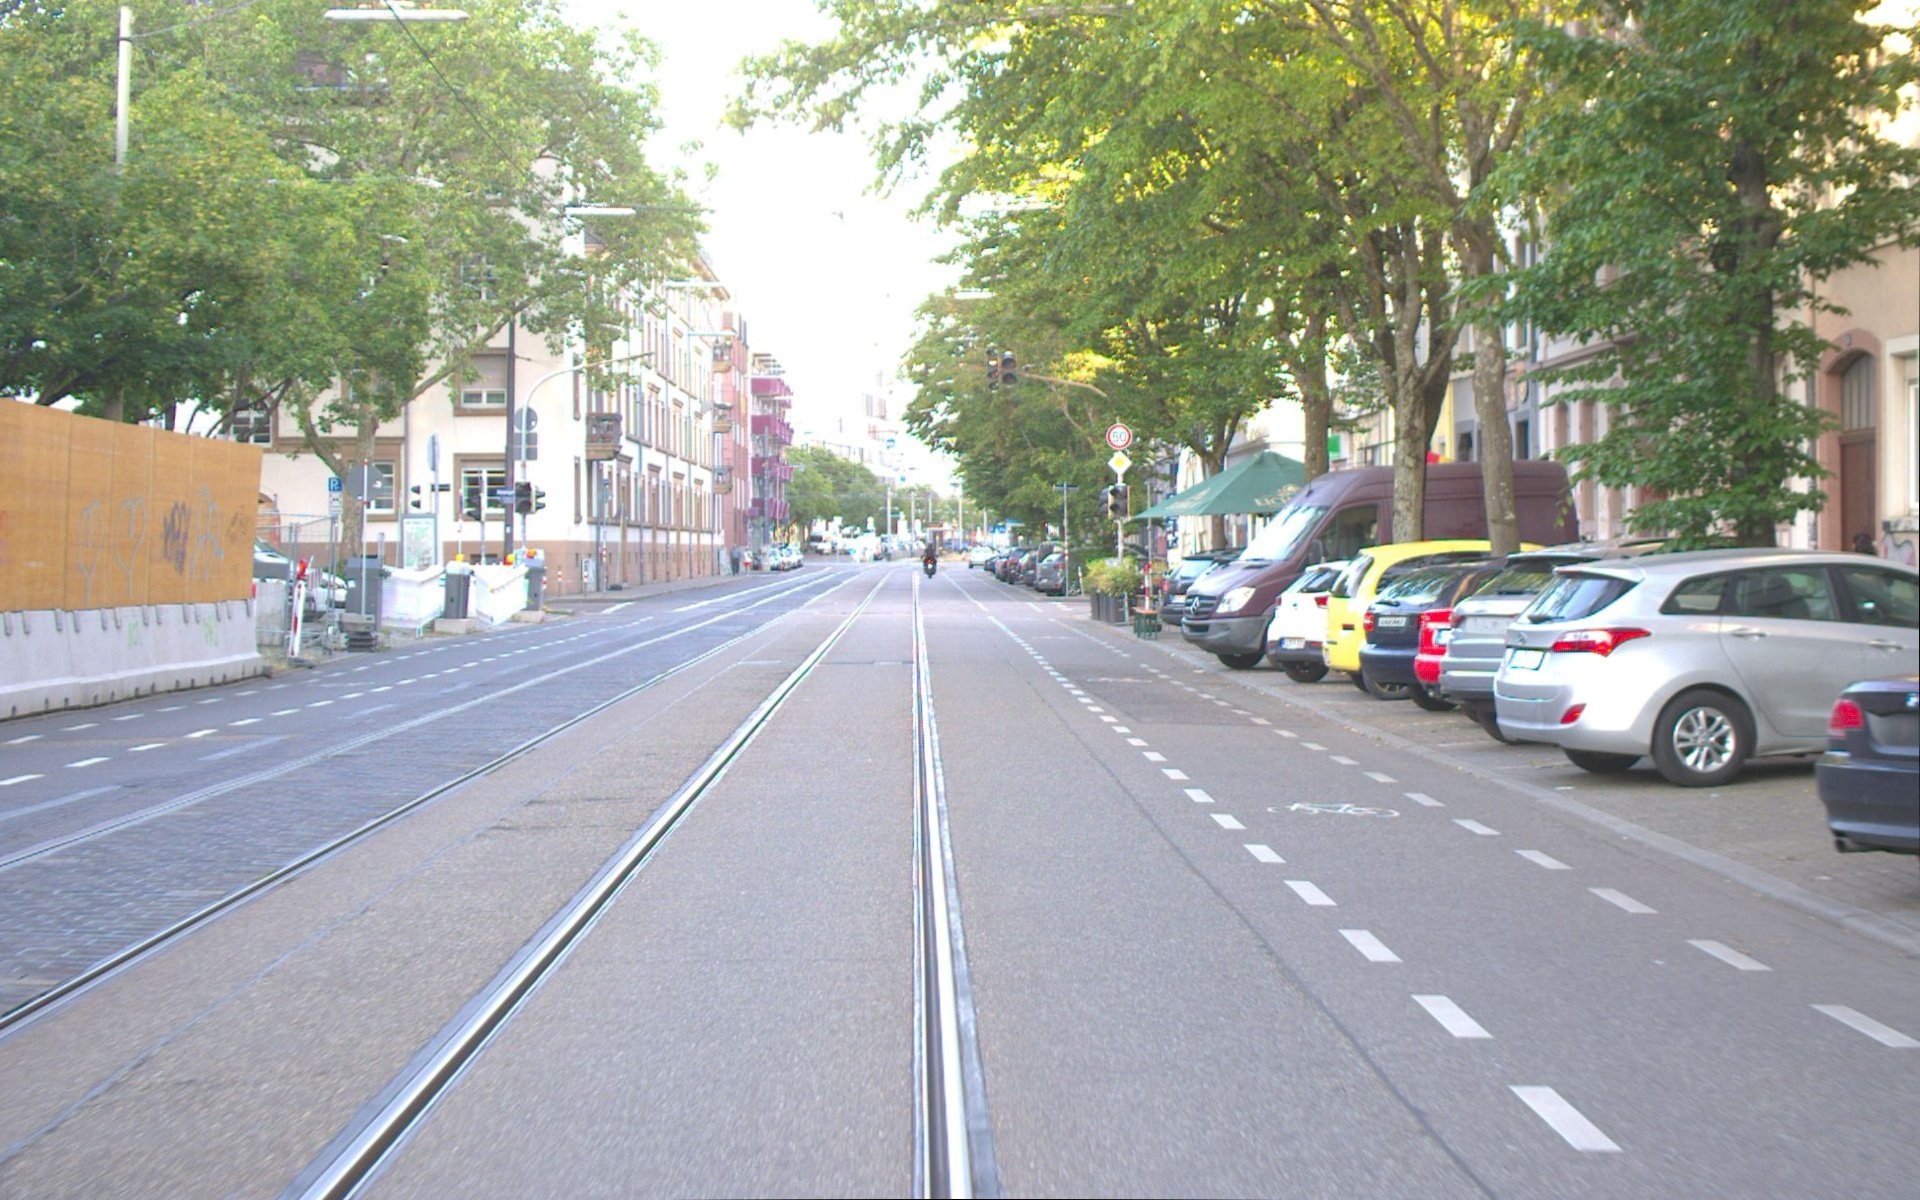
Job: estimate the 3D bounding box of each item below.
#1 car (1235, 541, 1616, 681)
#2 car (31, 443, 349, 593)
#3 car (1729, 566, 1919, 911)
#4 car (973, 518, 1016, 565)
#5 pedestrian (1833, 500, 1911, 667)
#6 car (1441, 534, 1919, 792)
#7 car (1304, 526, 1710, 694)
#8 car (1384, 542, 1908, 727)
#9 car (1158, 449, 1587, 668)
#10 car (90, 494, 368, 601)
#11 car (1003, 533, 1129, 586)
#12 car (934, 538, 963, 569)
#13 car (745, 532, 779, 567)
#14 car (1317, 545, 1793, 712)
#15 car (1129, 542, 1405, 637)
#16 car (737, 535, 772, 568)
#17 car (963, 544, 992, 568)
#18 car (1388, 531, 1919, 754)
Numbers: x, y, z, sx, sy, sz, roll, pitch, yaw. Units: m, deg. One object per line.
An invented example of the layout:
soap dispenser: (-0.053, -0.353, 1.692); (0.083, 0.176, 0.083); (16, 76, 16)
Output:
car: (5.444, 0.120, 40.226); (3.950, 1.481, 1.921); (-2, 0, -24)
car: (-14.228, -1.522, 63.800); (5.399, 2.549, 2.227); (2, 1, -3)
car: (5.760, 0.511, 15.112); (4.250, 1.387, 2.016); (-2, 1, -24)
car: (1.526, -2.603, 152.813); (1.804, 2.007, 4.000); (1, 1, -1)
pedestrian: (8.668, -0.159, 32.701); (0.538, 1.563, 0.813); (0, 1, 1)
car: (5.592, 0.361, 22.971); (4.249, 1.543, 2.020); (-2, 1, -11)
car: (5.739, 0.095, 36.410); (3.950, 1.614, 1.921); (-2, 0, 0)
car: (5.961, 0.272, 29.860); (4.120, 1.420, 1.898); (-2, 0, -26)
car: (5.373, -0.555, 44.898); (5.093, 2.633, 2.022); (-2, 1, -17)
car: (-14.768, -1.076, 69.650); (5.027, 1.938, 2.227); (2, 1, 4)
car: (3.303, -1.260, 107.406); (3.887, 1.587, 1.861); (1, 1, 1)
car: (-0.768, -3.143, 232.092); (1.898, 2.007, 4.000); (1, 1, -1)
car: (-12.493, -3.193, 217.208); (1.898, 2.171, 4.000); (1, 1, -1)
car: (5.712, 0.252, 32.990); (4.120, 1.420, 1.921); (-2, 0, -26)
car: (5.184, -0.187, 58.019); (4.174, 1.493, 2.009); (-1, 1, -25)
car: (-12.701, -3.004, 212.564); (1.898, 2.007, 4.000); (1, 1, -1)
car: (1.208, -3.121, 243.187); (1.963, 1.713, 4.000); (1, 1, -1)
car: (5.705, 0.291, 26.943); (4.249, 1.555, 1.898); (-2, 0, -23)
